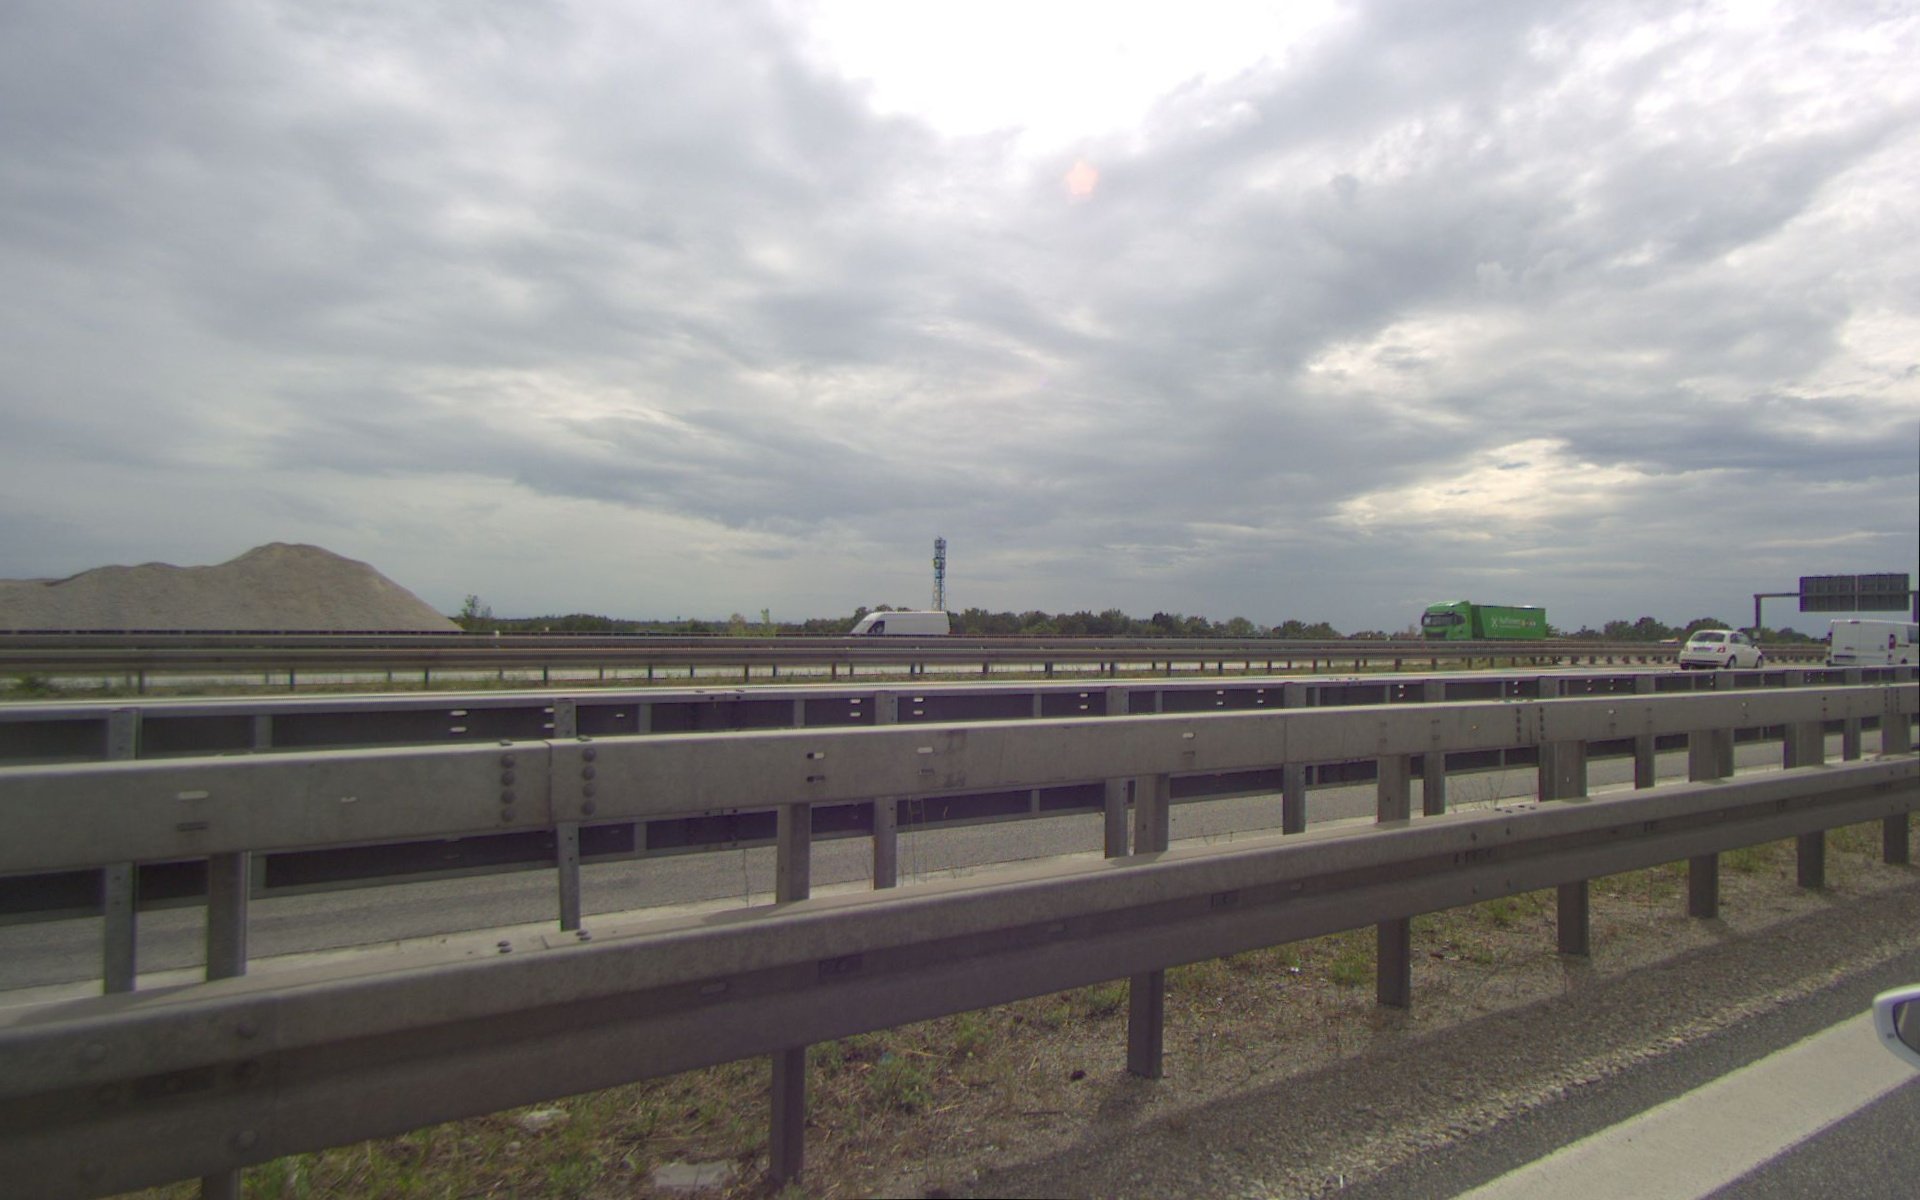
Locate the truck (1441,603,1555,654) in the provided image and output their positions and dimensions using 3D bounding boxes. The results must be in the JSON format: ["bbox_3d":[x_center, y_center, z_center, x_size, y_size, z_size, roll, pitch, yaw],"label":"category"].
[{"bbox_3d":[41.725,2.223,77.794,10.320,3.683,2.997,2,0,-32],"label":"truck"}]

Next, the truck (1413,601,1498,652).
[{"bbox_3d":[36.859,1.984,74.761,5.828,3.657,3.025,2,0,-32],"label":"truck"}]

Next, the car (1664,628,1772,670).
[{"bbox_3d":[28.308,1.814,37.493,3.952,1.439,1.789,2,0,-30],"label":"car"}]

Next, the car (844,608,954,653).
[{"bbox_3d":[-3.236,1.641,53.552,5.454,2.253,2.185,2,0,-31],"label":"car"}]

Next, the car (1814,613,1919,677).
[{"bbox_3d":[31.704,1.535,34.750,4.324,2.040,1.983,2,0,-31],"label":"car"}]
